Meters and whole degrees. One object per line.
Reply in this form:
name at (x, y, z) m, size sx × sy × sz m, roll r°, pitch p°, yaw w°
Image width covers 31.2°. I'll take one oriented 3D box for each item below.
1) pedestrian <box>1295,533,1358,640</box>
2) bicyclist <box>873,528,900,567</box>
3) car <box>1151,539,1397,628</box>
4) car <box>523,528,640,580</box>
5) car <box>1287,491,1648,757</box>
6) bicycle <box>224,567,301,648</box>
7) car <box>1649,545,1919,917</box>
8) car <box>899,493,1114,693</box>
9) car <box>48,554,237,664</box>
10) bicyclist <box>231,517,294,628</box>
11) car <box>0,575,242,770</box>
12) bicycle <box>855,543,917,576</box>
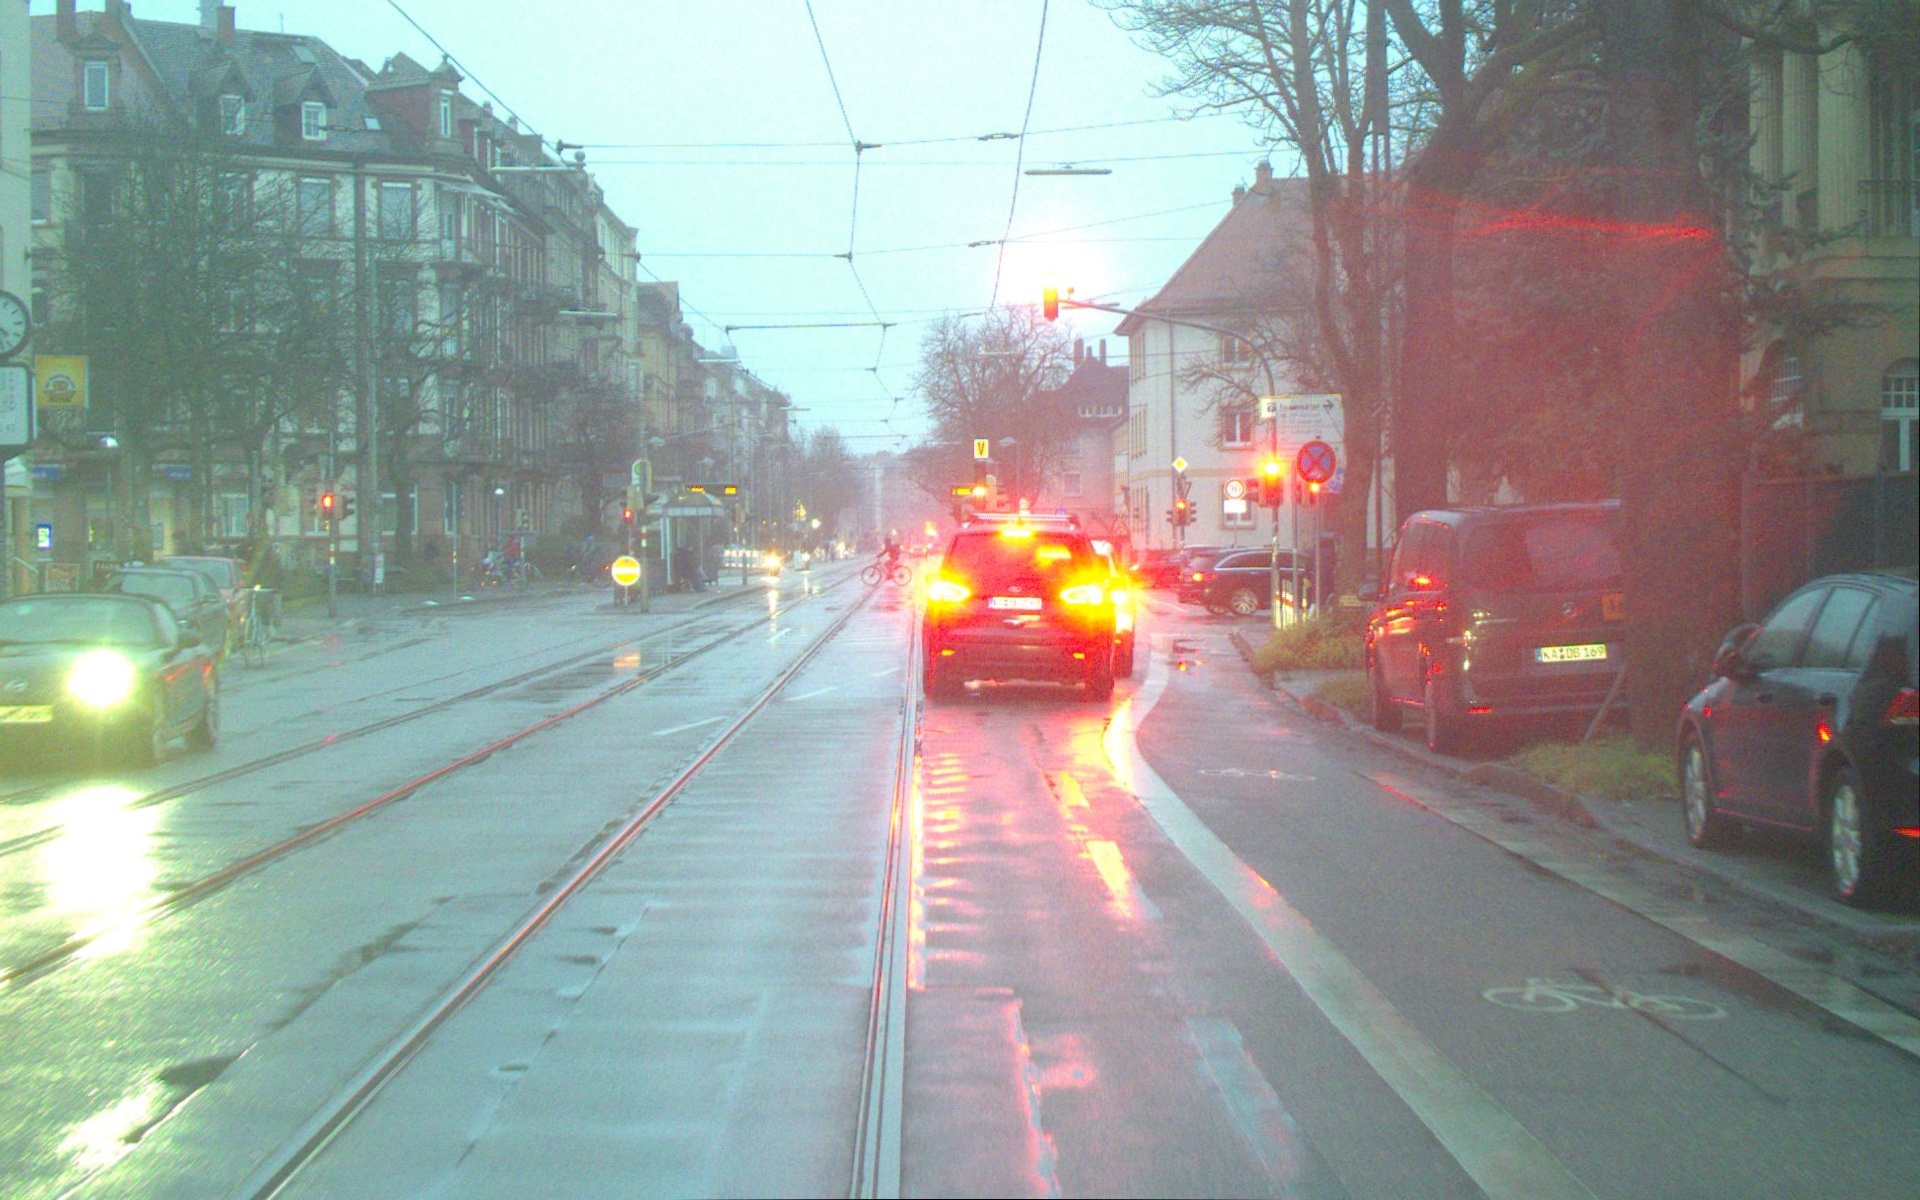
pedestrian at (7.033, -0.274, 65.993) m, size 1.022 × 2.006 × 0.919 m, roll -1°, pitch 2°, yaw -4°
bicyclist at (-2.633, -1.885, 122.587) m, size 0.822 × 1.371 × 0.557 m, roll -2°, pitch 2°, yaw -14°
car at (6.694, -0.371, 73.273) m, size 4.944 × 1.711 × 1.698 m, roll -2°, pitch 2°, yaw -20°
car at (-13.325, -1.622, 120.866) m, size 3.986 × 1.711 × 1.904 m, roll -1°, pitch 2°, yaw -9°
car at (3.936, 0.096, 27.532) m, size 1.993 × 1.894 × 5.028 m, roll -1°, pitch 2°, yaw -1°
bicycle at (-10.229, 0.101, 50.473) m, size 0.716 × 1.106 × 2.065 m, roll -1°, pitch 2°, yaw -1°
car at (4.522, 0.502, 16.064) m, size 1.677 × 1.455 × 4.043 m, roll -1°, pitch 1°, yaw -1°
car at (0.404, -0.076, 35.189) m, size 1.993 × 1.890 × 4.759 m, roll 1°, pitch 0°, yaw -1°
car at (-11.962, 0.105, 50.533) m, size 1.833 × 1.442 × 4.001 m, roll -1°, pitch 2°, yaw -1°
bicyclist at (-10.250, -0.416, 50.538) m, size 0.716 × 1.597 × 0.931 m, roll -1°, pitch 2°, yaw -1°
car at (-6.394, 0.479, 24.955) m, size 1.660 × 1.194 × 3.875 m, roll -1°, pitch 2°, yaw -2°
bicycle at (-2.643, -1.457, 122.599) m, size 2.103 × 1.129 × 0.557 m, roll -2°, pitch 2°, yaw -14°
